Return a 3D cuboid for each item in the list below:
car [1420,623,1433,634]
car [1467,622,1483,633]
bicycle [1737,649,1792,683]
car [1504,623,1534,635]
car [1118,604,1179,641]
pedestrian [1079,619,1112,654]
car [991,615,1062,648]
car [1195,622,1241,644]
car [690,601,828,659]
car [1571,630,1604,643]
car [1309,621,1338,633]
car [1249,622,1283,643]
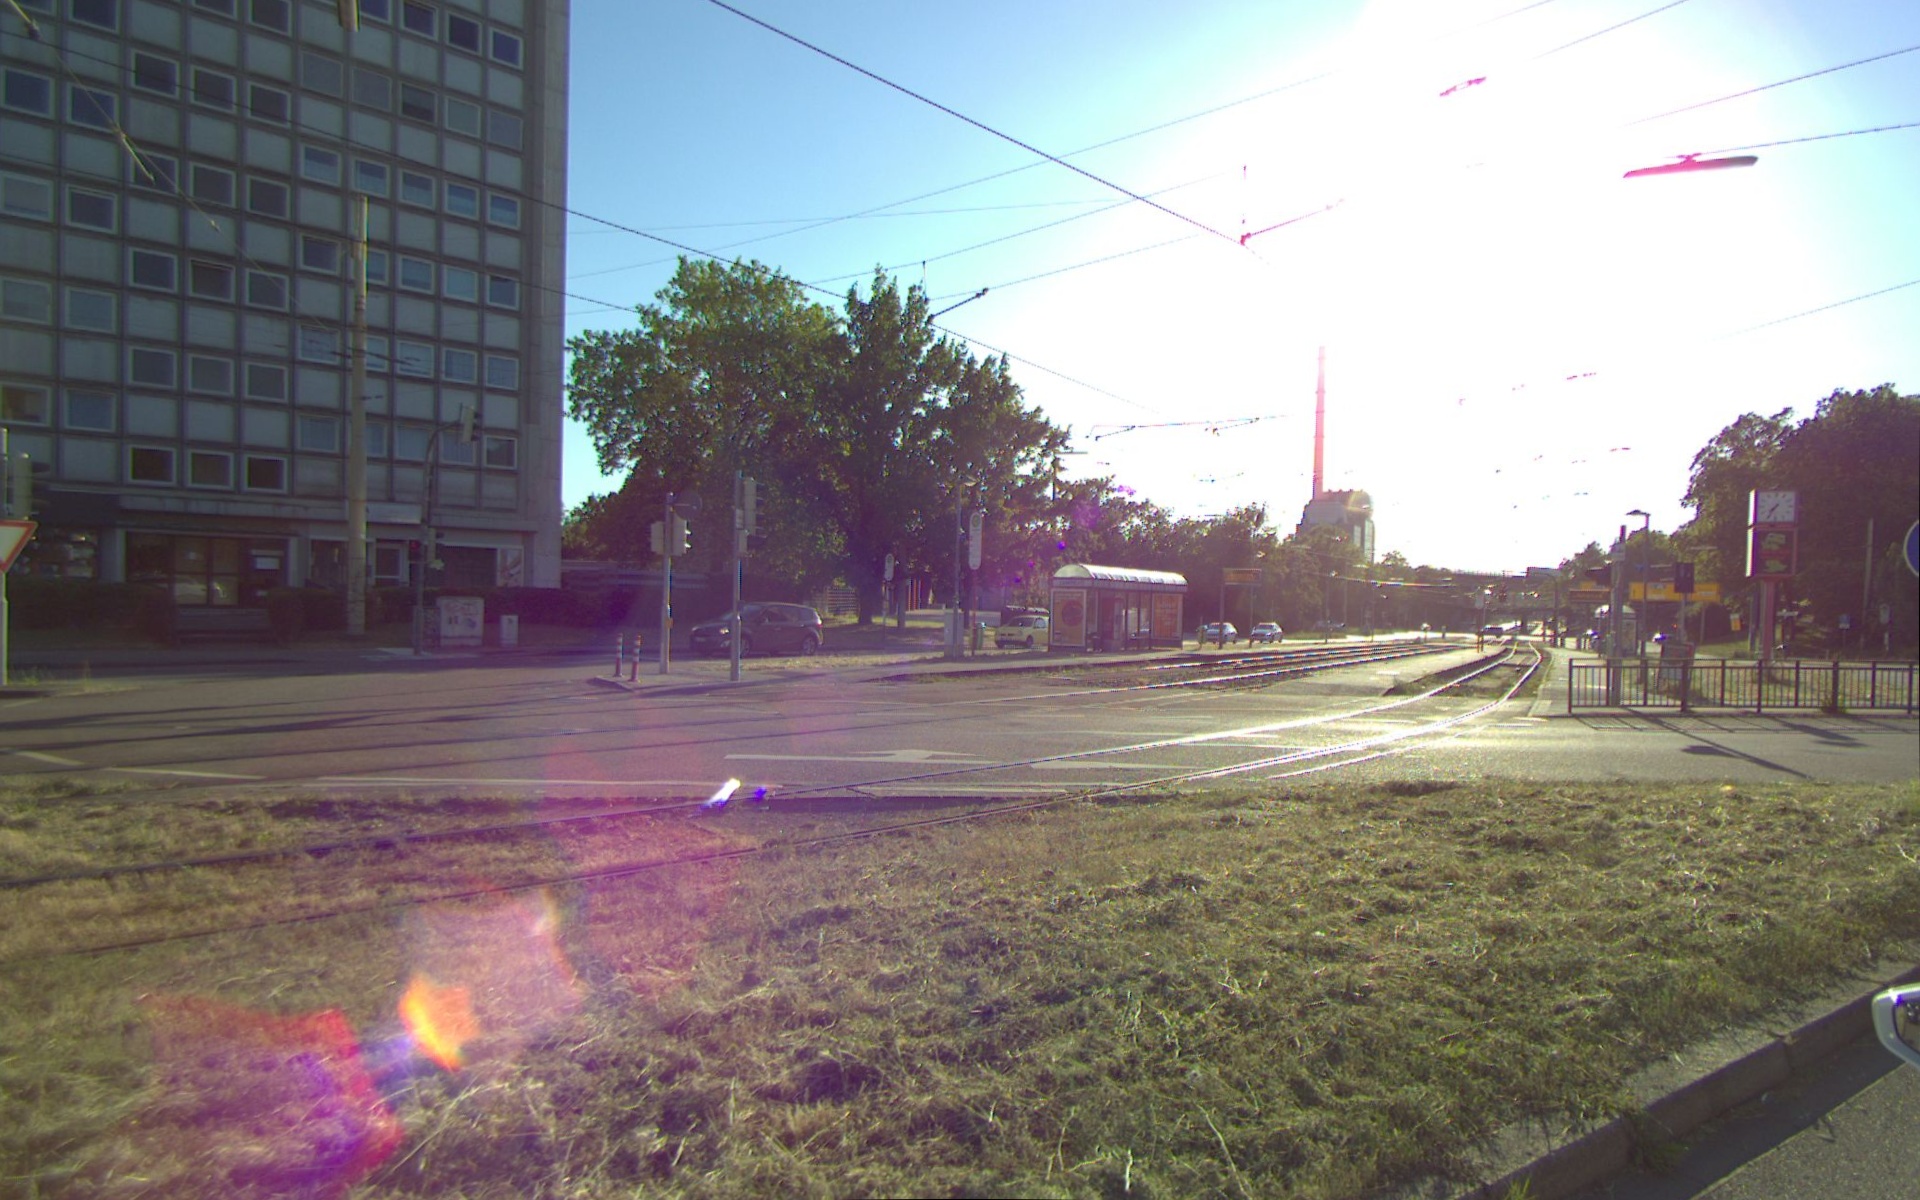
[{"bbox_3d":[93.204,5.681,200.613,1.965,2.040,3.991,1,-1,31],"label":"car"},{"bbox_3d":[99.275,5.366,193.655,1.967,2.040,4.846,1,-1,36],"label":"car"},{"bbox_3d":[22.575,1.834,28.180,1.721,0.930,0.551,1,-2,-28],"label":"bicycle"},{"bbox_3d":[111.423,5.752,200.260,1.983,2.041,4.745,1,1,-39],"label":"car"},{"bbox_3d":[11.035,1.319,58.653,1.966,2.040,4.148,1,-1,34],"label":"car"},{"bbox_3d":[4.811,1.278,35.535,0.832,1.204,0.920,1,-1,34],"label":"pedestrian"},{"bbox_3d":[2.994,1.381,44.698,1.524,1.358,3.583,2,0,34],"label":"car"},{"bbox_3d":[18.157,2.311,70.608,1.778,1.386,3.951,2,1,36],"label":"car"},{"bbox_3d":[-6.066,0.910,30.752,1.560,1.616,4.137,3,0,37],"label":"car"},{"bbox_3d":[116.770,6.770,186.810,1.984,2.041,4.804,1,1,-41],"label":"car"},{"bbox_3d":[57.769,4.258,159.734,3.919,1.773,2.001,1,-1,4],"label":"car"},{"bbox_3d":[24.719,2.605,81.035,1.632,1.552,4.382,1,-1,31],"label":"car"}]
